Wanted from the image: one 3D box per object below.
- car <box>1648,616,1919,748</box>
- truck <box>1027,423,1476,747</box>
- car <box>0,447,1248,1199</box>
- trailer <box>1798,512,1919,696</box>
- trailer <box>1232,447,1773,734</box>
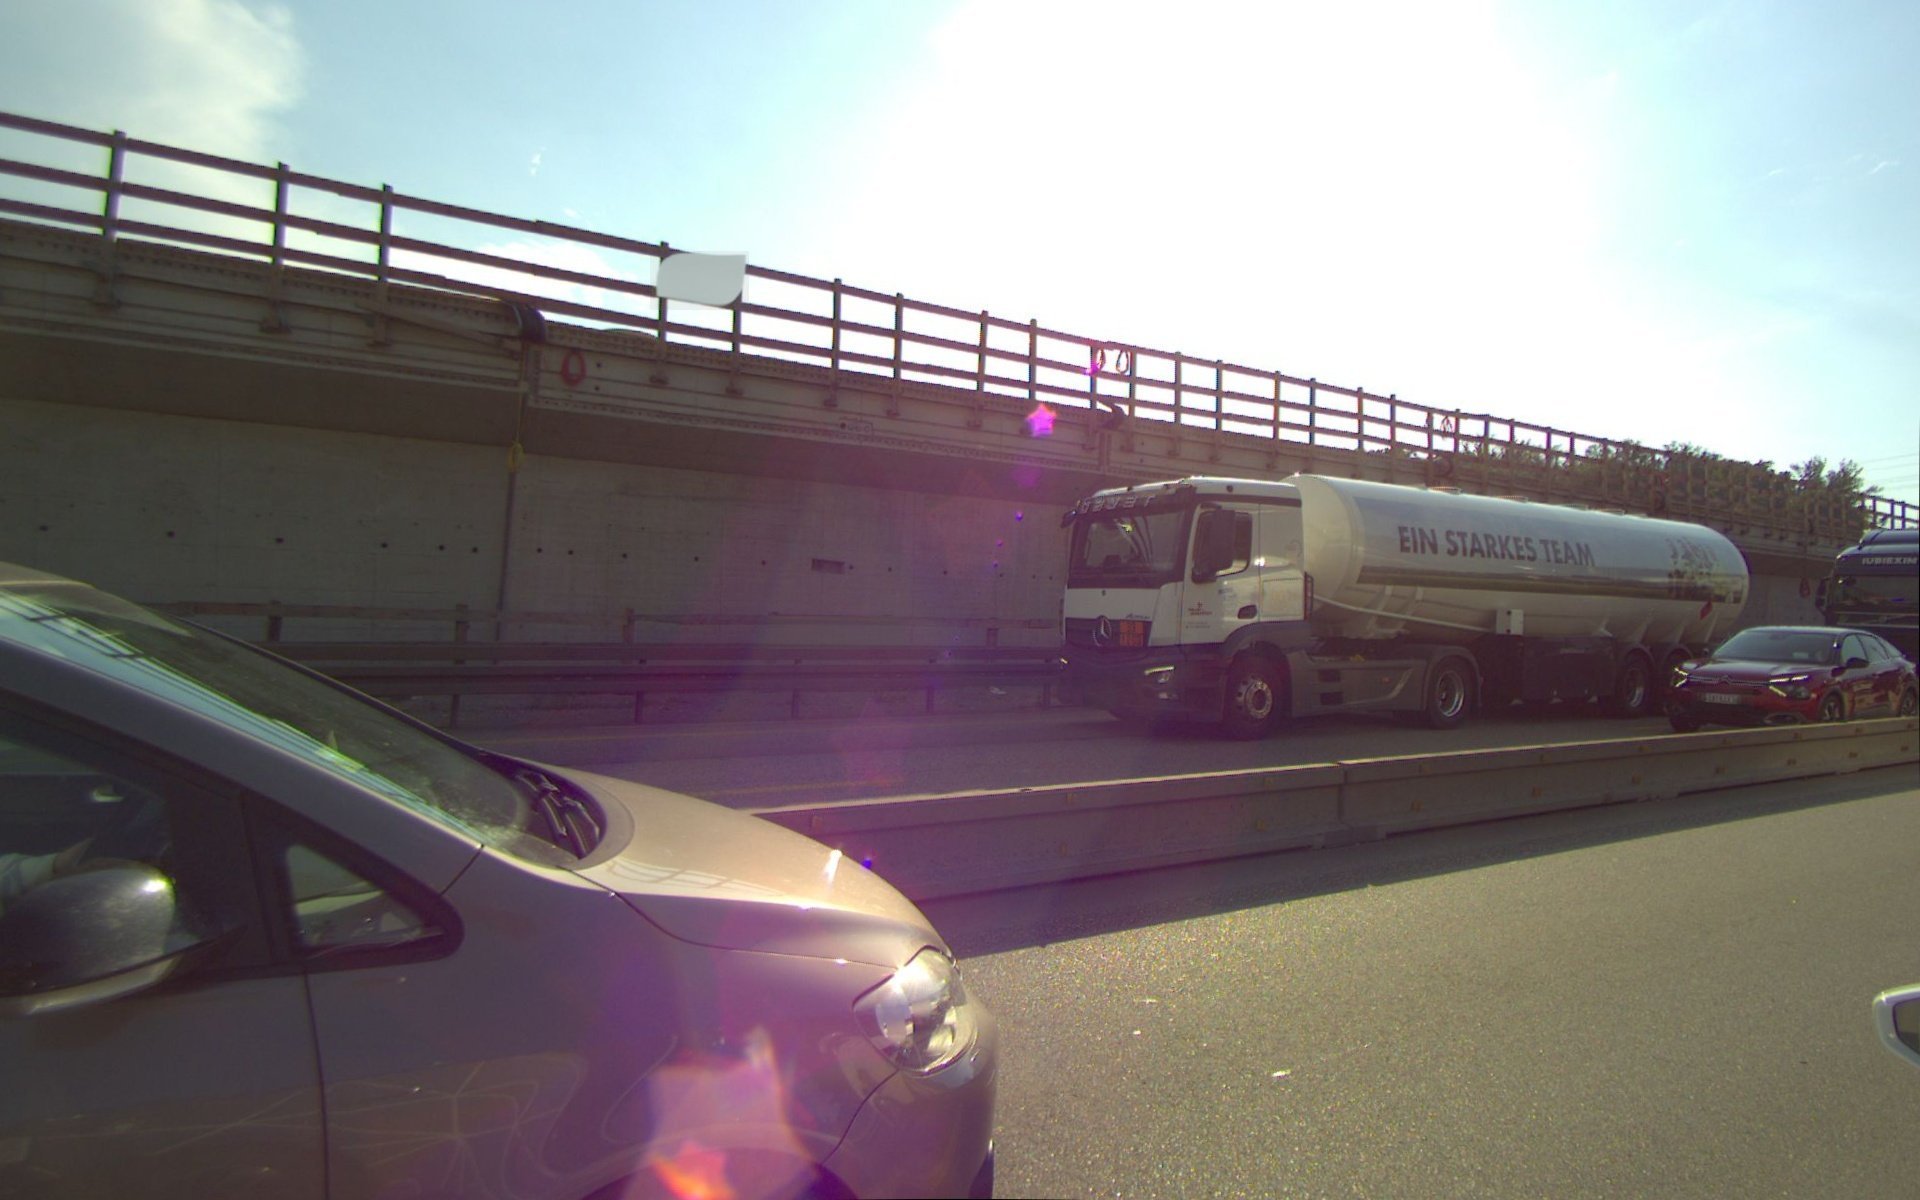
[{"bbox_3d":[11.684,1.065,14.107,4.248,1.578,1.716,2,0,-31],"label":"car"},{"bbox_3d":[3.903,-0.065,13.190,5.468,3.454,2.536,3,0,-31],"label":"truck"},{"bbox_3d":[-1.709,0.638,1.521,4.223,1.609,1.672,3,-2,-31],"label":"car"},{"bbox_3d":[23.933,0.132,25.084,5.907,4.197,2.751,1,0,-31],"label":"trailer"},{"bbox_3d":[9.223,0.087,16.305,10.557,3.573,2.544,3,-1,-30],"label":"trailer"}]
